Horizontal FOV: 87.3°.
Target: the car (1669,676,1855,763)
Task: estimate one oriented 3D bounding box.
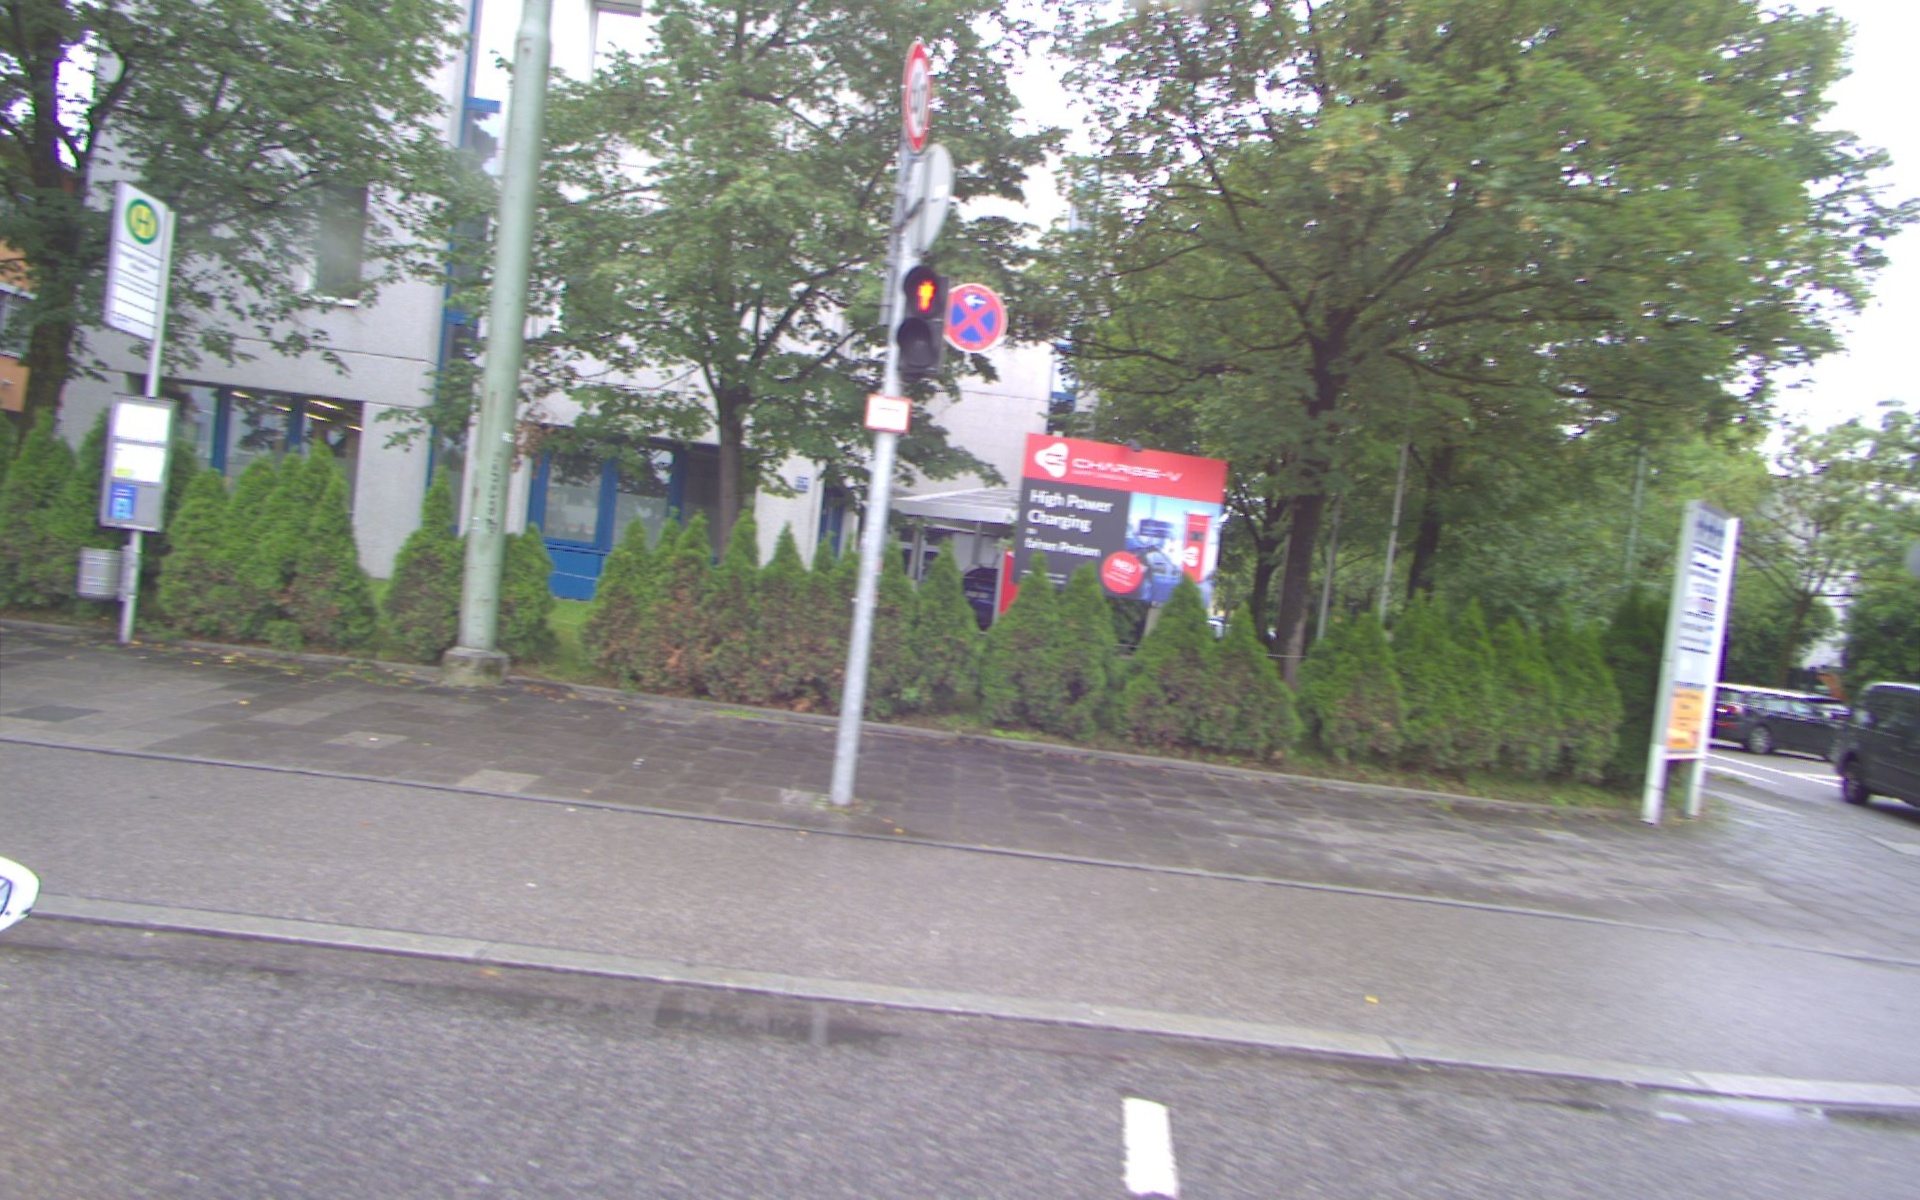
[{"bbox_3d":[18.233,2.701,22.912,3.231,1.462,1.659,7,1,-16],"label":"car"}]

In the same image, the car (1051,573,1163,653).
[{"bbox_3d":[3.430,0.261,22.787,1.834,1.437,4.174,7,2,16],"label":"car"}]

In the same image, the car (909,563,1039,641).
[{"bbox_3d":[0.433,0.045,23.242,1.834,1.437,4.174,7,2,16],"label":"car"}]

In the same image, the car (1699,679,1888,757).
[{"bbox_3d":[22.948,3.191,27.945,1.729,1.594,4.165,4,0,1],"label":"car"}]

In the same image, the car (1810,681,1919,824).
[{"bbox_3d":[13.513,2.138,13.203,1.963,1.744,4.789,7,0,21],"label":"car"}]
